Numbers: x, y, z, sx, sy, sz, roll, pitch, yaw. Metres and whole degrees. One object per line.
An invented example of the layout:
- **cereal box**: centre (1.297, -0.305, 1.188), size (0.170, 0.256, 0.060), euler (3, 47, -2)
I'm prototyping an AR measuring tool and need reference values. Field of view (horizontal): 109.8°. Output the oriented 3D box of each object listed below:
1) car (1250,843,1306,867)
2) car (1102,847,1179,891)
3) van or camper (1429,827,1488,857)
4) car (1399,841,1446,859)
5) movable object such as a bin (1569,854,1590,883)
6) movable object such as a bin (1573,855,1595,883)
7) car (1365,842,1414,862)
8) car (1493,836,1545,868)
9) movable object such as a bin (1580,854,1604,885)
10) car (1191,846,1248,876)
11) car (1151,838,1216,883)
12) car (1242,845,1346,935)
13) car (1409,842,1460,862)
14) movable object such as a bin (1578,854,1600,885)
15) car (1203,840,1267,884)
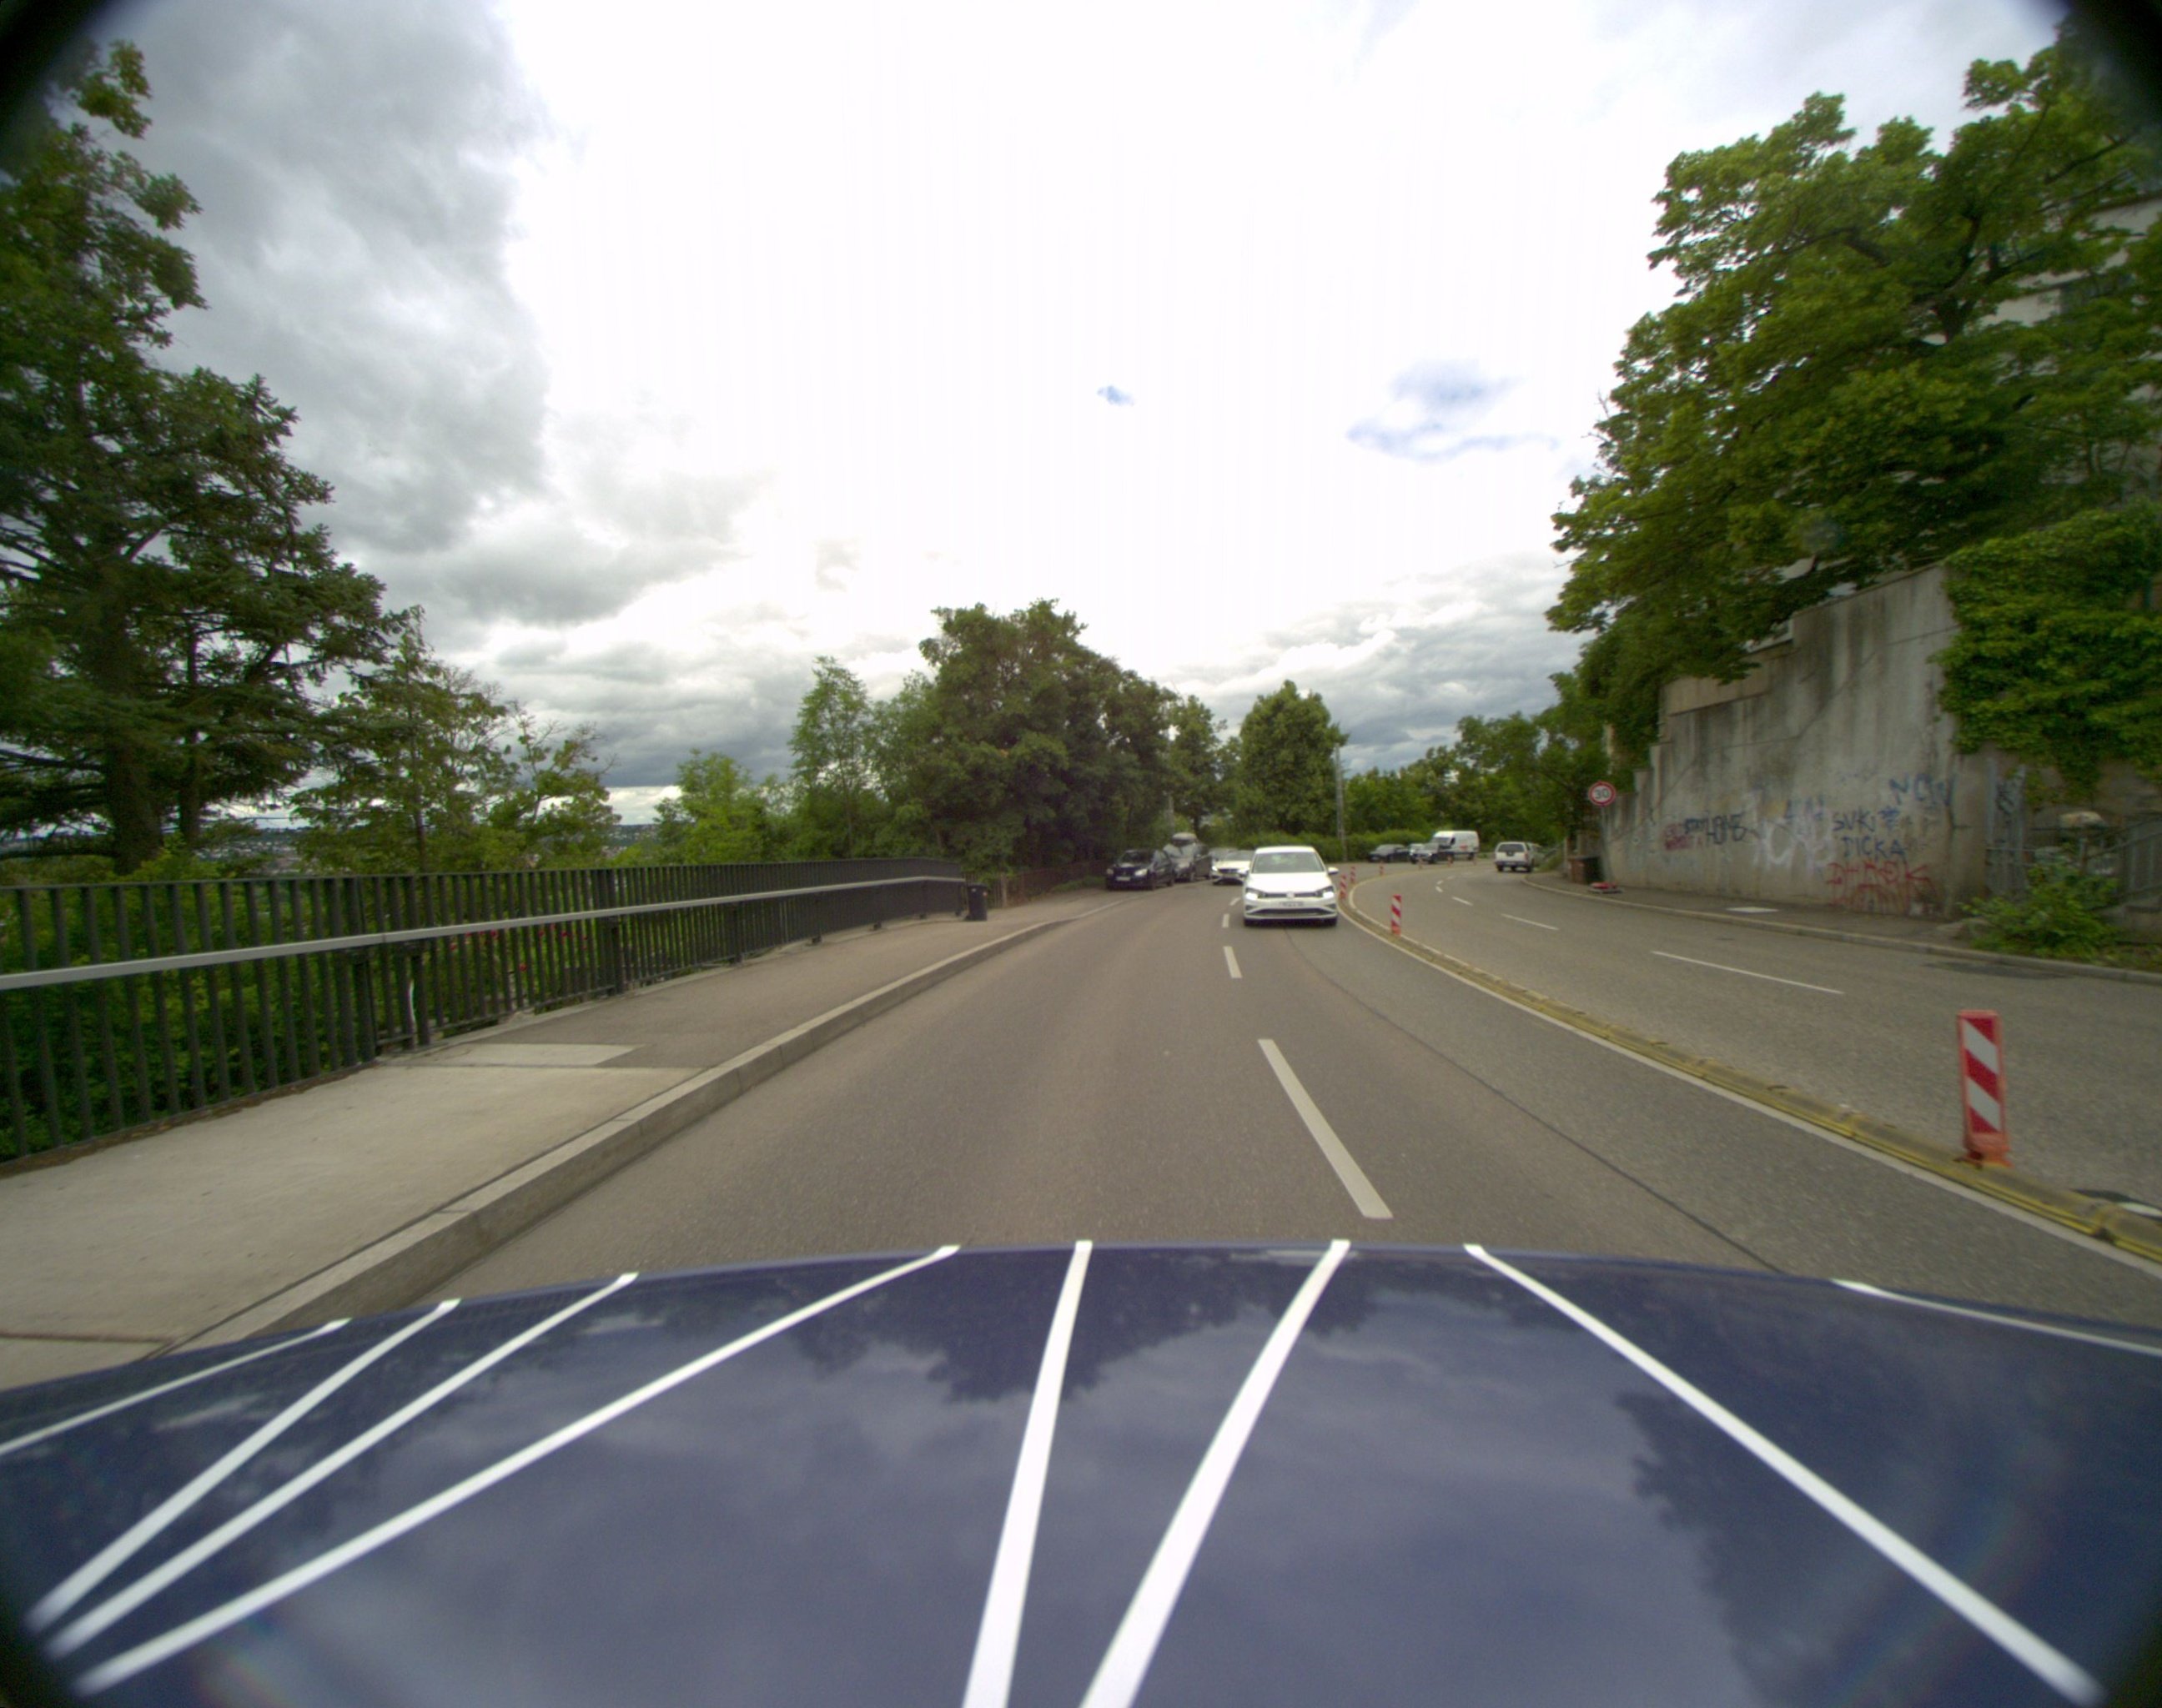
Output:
- **car**: centre (12.704, 0.034, 48.853), size (1.929, 1.425, 4.008), euler (1, 2, 39)
- **car**: centre (2.305, 0.511, 28.321), size (1.695, 1.513, 3.924), euler (0, 0, 23)
- **van or camper**: centre (34.021, -1.075, 68.387), size (5.430, 2.613, 2.262), euler (-2, 1, -32)
- **car**: centre (28.732, -0.335, 63.878), size (4.106, 1.425, 1.871), euler (-2, 1, -37)
- **movable object such as a bin**: centre (17.006, 0.485, 25.900), size (0.527, 0.957, 0.431), euler (-1, 1, 24)
- **movable object such as a bin**: centre (16.824, 0.496, 25.410), size (0.527, 0.925, 0.482), euler (-1, 1, 24)
- **car**: centre (24.504, -0.174, 60.328), size (4.107, 1.425, 1.929), euler (-2, 1, -40)
- **car**: centre (26.664, -0.130, 46.154), size (1.994, 1.818, 5.156), euler (-1, 1, 38)
- **movable object such as a bin**: centre (16.134, 0.480, 23.995), size (0.527, 0.957, 0.460), euler (-1, 1, 24)
- **car**: centre (7.252, 0.314, 39.383), size (1.930, 1.425, 4.006), euler (-1, 1, 25)
- **car**: centre (4.620, 0.219, 33.711), size (1.695, 1.821, 4.410), euler (2, 2, 23)
- **car**: centre (4.326, 0.630, 16.022), size (1.824, 1.571, 4.359), euler (-1, 1, 12)
- **car**: centre (27.222, -0.171, 58.445), size (4.149, 1.485, 1.897), euler (-2, 1, -38)
- **movable object such as a bin**: centre (16.414, 0.499, 24.546), size (0.527, 0.957, 0.401), euler (-1, 1, 24)
- **car**: centre (6.592, 0.282, 32.258), size (1.995, 1.708, 4.005), euler (2, 2, 21)
